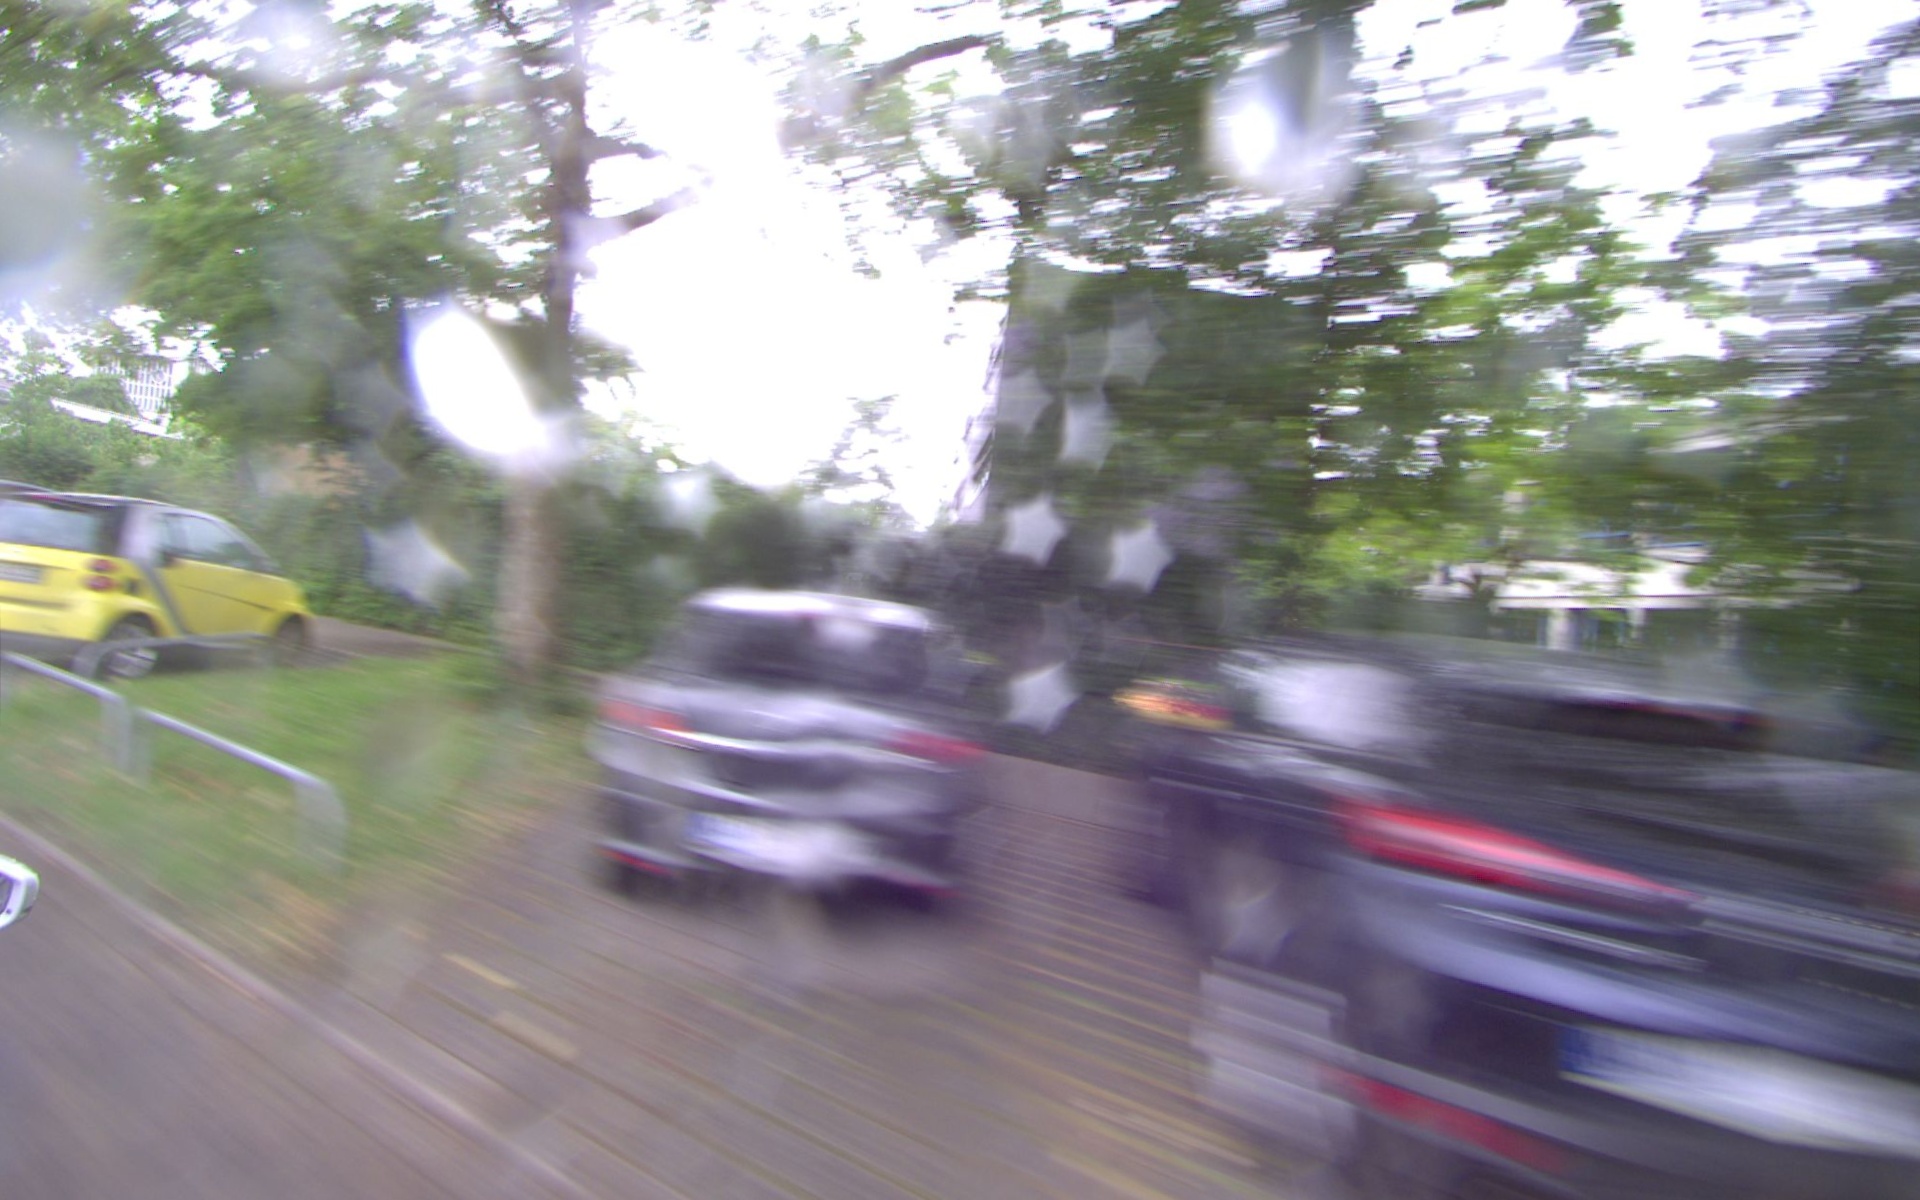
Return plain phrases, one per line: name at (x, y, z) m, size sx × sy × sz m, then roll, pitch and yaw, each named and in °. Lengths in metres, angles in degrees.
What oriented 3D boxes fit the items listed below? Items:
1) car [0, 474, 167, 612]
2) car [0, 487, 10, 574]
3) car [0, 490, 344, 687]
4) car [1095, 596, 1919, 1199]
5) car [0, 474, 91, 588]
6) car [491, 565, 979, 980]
car at (-12.453, -0.781, 12.849) m, size 1.625 × 1.662 × 4.042 m, roll 5°, pitch 1°, yaw -5°
car at (-17.698, -1.278, 16.104) m, size 1.817 × 1.538 × 3.400 m, roll 5°, pitch 1°, yaw -5°
car at (-7.570, -0.142, 9.449) m, size 1.573 × 1.485 × 2.904 m, roll 6°, pitch 1°, yaw 4°
car at (1.789, 0.889, 3.955) m, size 1.848 × 1.552 × 3.802 m, roll 7°, pitch 1°, yaw 0°
car at (-15.079, -1.100, 14.882) m, size 1.563 × 1.693 × 3.272 m, roll 5°, pitch 1°, yaw -1°
car at (-0.971, 0.626, 5.825) m, size 1.711 × 1.436 × 4.058 m, roll 5°, pitch 1°, yaw -4°
